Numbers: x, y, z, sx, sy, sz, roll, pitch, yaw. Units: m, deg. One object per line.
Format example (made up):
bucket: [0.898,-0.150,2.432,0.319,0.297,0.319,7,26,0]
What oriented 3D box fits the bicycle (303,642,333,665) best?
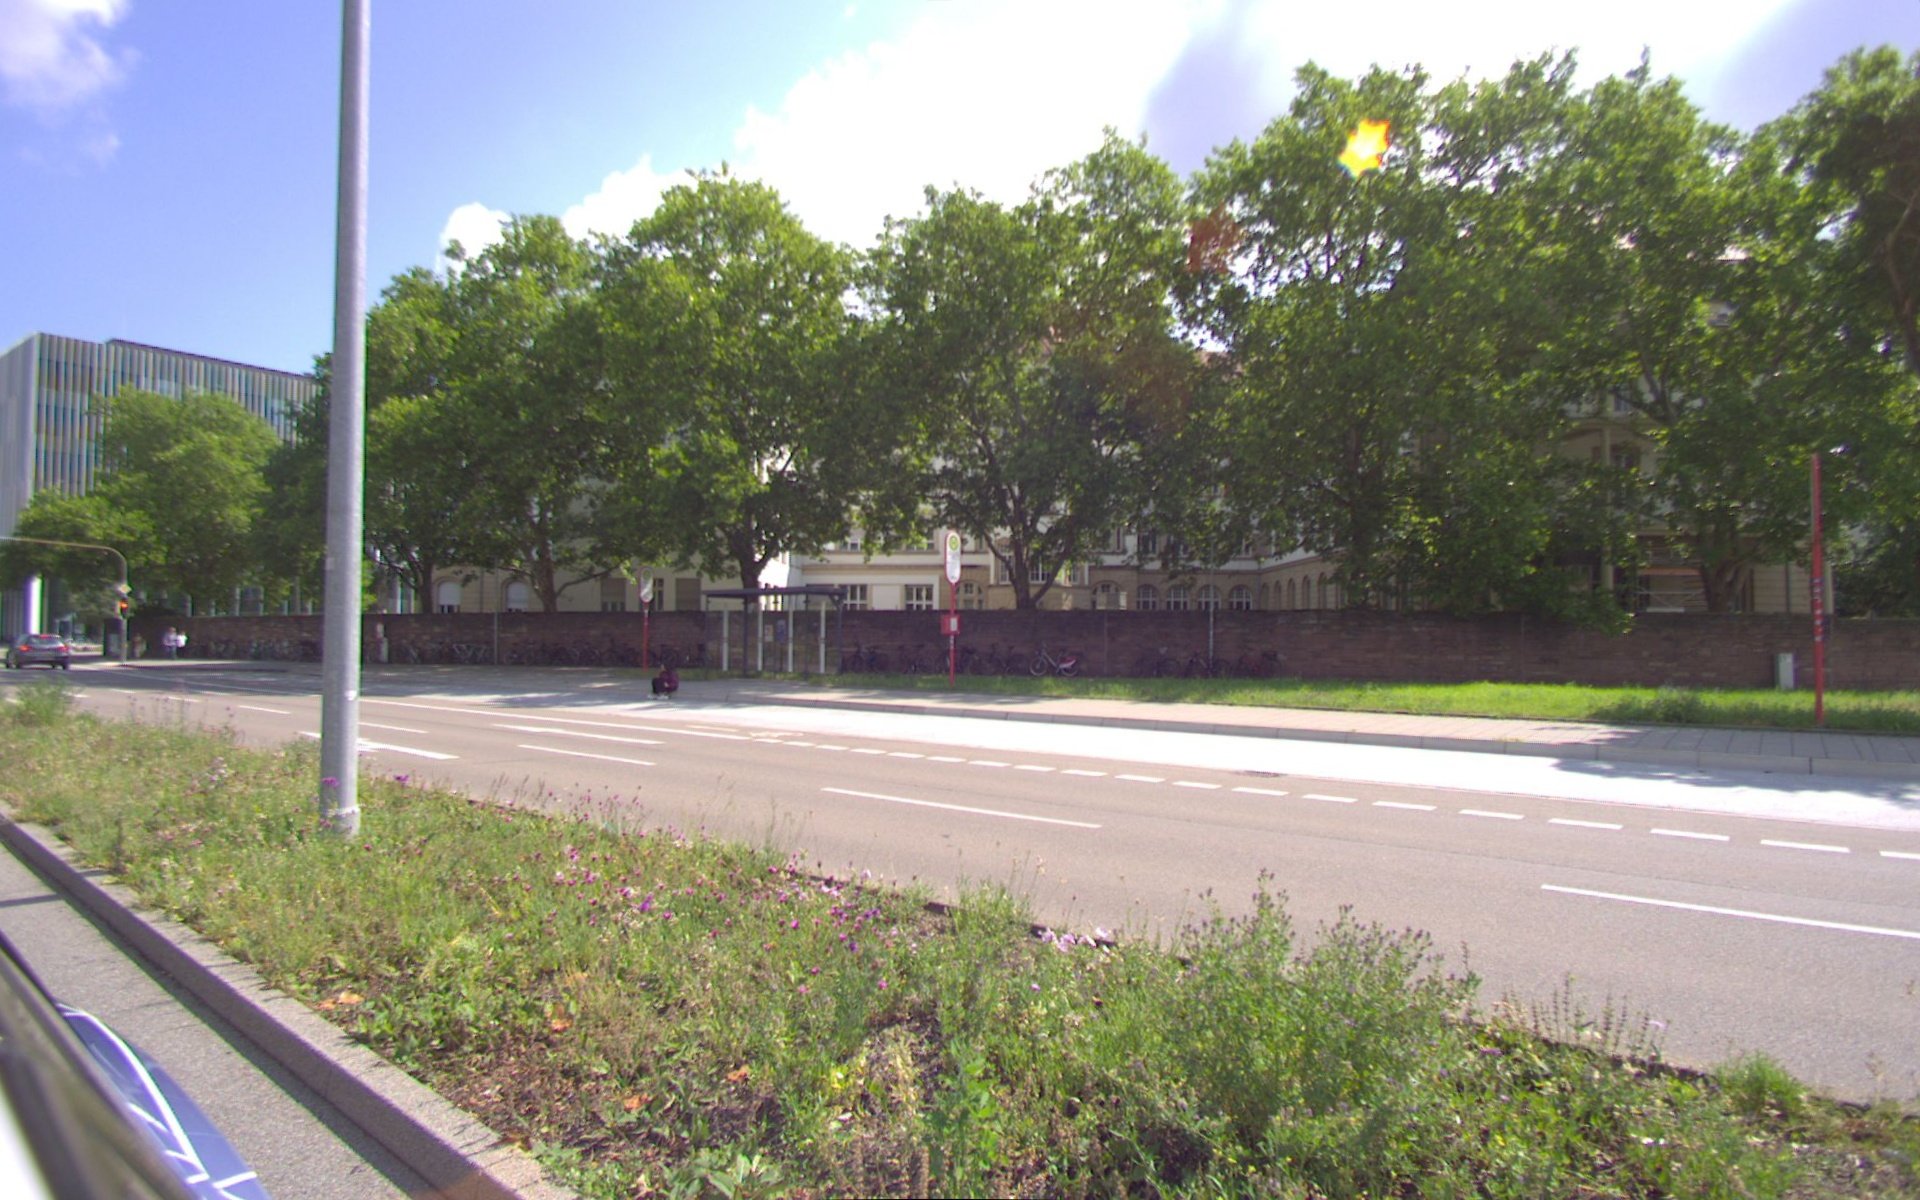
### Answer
bicycle: [-30.786,2.558,48.539,1.873,1.056,0.391,-1,-3,30]

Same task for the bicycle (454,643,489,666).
bicycle: [-20.797,2.335,43.071,1.617,0.962,0.368,-1,-2,24]

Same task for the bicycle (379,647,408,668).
bicycle: [-25.408,2.569,45.385,1.393,0.962,0.364,-1,-2,24]

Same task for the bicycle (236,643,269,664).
bicycle: [-35.213,2.651,50.381,1.873,1.056,0.587,-1,-3,30]

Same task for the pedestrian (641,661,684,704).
pedestrian: [-7.181,1.981,24.408,0.742,0.970,0.687,-2,-2,38]

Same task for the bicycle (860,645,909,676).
bicycle: [-2.665,2.136,35.704,1.618,1.081,0.581,-1,-2,18]

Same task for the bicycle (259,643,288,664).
bicycle: [-34.205,2.651,50.422,1.873,1.056,0.367,-1,-3,30]

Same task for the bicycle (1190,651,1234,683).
bicycle: [8.193,2.155,32.887,1.359,1.019,0.389,-1,-2,19]

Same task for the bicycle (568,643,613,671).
bicycle: [-14.609,2.243,40.052,1.744,1.081,0.580,-1,-2,23]

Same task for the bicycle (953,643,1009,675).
bicycle: [0.708,2.020,34.726,1.857,1.081,0.580,-1,-2,22]

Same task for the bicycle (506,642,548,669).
bicycle: [-17.680,2.259,41.363,1.643,1.084,0.626,-1,-2,24]

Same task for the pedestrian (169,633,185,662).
pedestrian: [-41.742,2.541,53.944,0.615,1.552,0.472,-2,-3,34]

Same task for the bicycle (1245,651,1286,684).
bicycle: [9.832,2.165,32.549,1.244,1.019,0.351,-1,-2,19]

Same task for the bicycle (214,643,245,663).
bicycle: [-37.970,2.752,52.624,1.873,1.056,0.560,-1,-3,30]

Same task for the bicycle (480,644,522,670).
bicycle: [-19.127,2.363,42.204,1.745,1.081,0.579,-1,-2,24]

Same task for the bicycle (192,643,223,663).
bicycle: [-39.873,2.791,53.617,1.873,1.056,0.625,-1,-3,30]

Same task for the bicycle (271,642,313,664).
bicycle: [-32.592,2.604,49.386,1.863,1.056,0.591,-1,-2,15]

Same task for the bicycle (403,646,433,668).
bicycle: [-23.952,2.509,44.710,1.393,0.962,0.364,-1,-2,24]

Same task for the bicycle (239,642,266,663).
bicycle: [-36.089,2.683,51.598,1.873,1.056,0.367,-1,-3,30]

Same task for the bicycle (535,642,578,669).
bicycle: [-16.282,2.236,40.820,1.745,1.081,0.579,-1,-2,24]

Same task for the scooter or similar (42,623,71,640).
scooter or similar: [-63.242,2.182,70.845,0.498,1.166,1.497,-1,-2,11]

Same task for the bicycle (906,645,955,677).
bicycle: [-1.036,2.127,35.240,1.618,1.081,0.581,-1,-2,18]

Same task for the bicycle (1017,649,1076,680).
bicycle: [2.919,2.168,34.163,1.948,1.019,0.469,-1,-2,19]

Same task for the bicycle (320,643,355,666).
bicycle: [-29.209,2.535,47.489,1.873,1.056,0.576,-1,-3,30]

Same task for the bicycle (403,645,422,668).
bicycle: [-23.766,2.455,43.918,0.362,0.962,1.626,2,-3,-42]

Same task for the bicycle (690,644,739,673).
bicycle: [-9.221,2.197,37.949,1.741,1.081,0.581,-1,-2,18]

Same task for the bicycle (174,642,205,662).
bicycle: [-41.775,2.807,54.846,1.873,1.056,0.625,-1,-3,30]

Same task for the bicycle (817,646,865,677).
bicycle: [-4.267,2.185,36.226,1.618,1.081,0.581,-1,-2,18]

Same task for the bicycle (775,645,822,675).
bicycle: [-5.860,2.161,36.750,1.618,1.081,0.581,-1,-2,18]

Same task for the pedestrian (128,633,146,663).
pedestrian: [-45.014,2.625,55.352,0.725,1.664,0.555,-2,-3,34]

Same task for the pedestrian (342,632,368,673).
pedestrian: [-24.015,2.077,40.168,0.744,1.622,0.649,-2,-2,40]

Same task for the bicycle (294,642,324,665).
bicycle: [-30.992,2.542,48.194,1.873,1.056,0.370,-1,-3,30]

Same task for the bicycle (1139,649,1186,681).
bicycle: [6.649,2.134,33.229,1.444,1.019,0.469,-1,-2,19]

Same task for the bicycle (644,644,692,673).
bicycle: [-11.122,2.212,38.561,1.741,1.081,0.581,-1,-2,18]

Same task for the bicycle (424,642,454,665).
bicycle: [-22.685,2.326,44.098,1.393,0.962,0.364,-1,-2,24]

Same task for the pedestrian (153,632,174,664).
pedestrian: [-41.805,2.540,53.102,0.729,1.664,0.635,-2,-3,33]

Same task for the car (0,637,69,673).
car: [-39.294,2.318,42.822,4.141,1.456,1.683,-2,-4,39]

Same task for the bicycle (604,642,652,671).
bicycle: [-12.915,2.192,39.350,1.741,1.081,0.581,-1,-2,18]

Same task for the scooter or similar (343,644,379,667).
scooter or similar: [-27.533,2.537,46.518,1.873,1.056,0.576,-1,-3,30]
